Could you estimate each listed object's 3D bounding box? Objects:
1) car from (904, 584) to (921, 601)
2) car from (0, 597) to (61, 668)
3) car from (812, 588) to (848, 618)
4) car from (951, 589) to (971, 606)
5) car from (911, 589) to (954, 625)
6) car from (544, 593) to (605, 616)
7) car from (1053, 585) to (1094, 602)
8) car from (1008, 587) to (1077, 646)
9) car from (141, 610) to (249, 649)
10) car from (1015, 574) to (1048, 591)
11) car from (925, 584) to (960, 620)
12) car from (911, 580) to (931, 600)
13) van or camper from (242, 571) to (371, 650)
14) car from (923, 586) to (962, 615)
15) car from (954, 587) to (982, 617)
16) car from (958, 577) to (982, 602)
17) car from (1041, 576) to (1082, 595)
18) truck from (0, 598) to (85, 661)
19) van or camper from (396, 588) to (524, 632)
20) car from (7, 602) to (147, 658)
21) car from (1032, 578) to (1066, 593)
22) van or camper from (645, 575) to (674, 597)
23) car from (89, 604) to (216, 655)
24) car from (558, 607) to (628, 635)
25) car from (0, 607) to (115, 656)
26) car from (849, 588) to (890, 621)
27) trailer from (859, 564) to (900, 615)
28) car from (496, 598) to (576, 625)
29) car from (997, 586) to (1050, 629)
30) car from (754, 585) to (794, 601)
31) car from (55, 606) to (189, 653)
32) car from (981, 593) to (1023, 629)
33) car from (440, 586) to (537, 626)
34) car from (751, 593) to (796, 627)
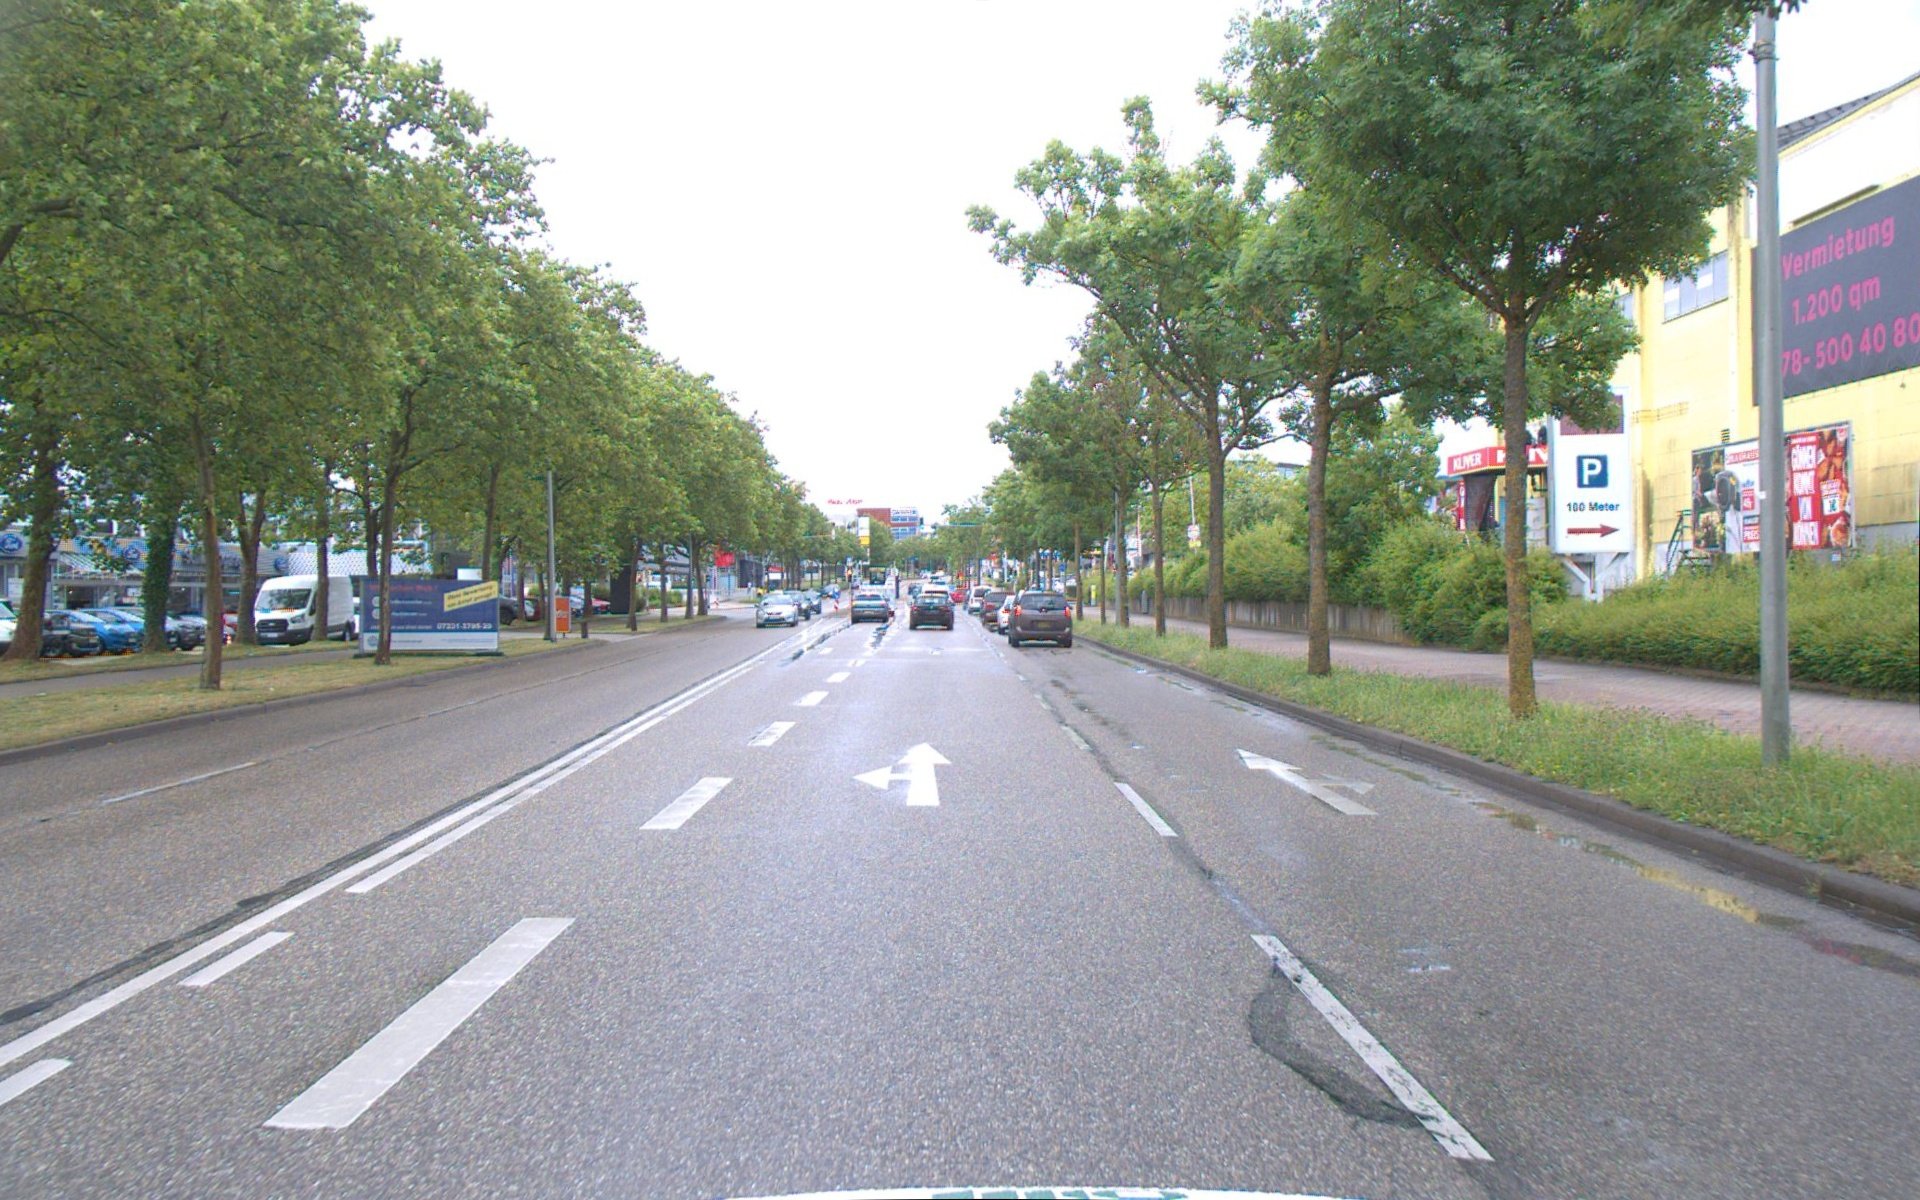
[{"bbox_3d":[-5.723,-0.915,200.858,1.953,2.049,3.999,1,0,-1],"label":"car"},{"bbox_3d":[-28.980,0.947,47.192,5.270,1.936,2.414,-1,0,-5],"label":"car"},{"bbox_3d":[-7.363,0.148,93.866,1.727,1.558,3.857,-3,0,-1],"label":"car"},{"bbox_3d":[0.097,-0.238,145.002,1.661,1.468,3.988,-1,0,-1],"label":"car"},{"bbox_3d":[-1.164,0.267,69.167,1.746,1.422,3.999,0,0,-2],"label":"car"},{"bbox_3d":[-26.742,0.319,114.758,3.903,1.515,1.877,-1,1,-6],"label":"car"},{"bbox_3d":[11.001,-0.644,160.321,1.896,1.604,4.266,-1,1,40],"label":"car"},{"bbox_3d":[2.390,0.446,48.909,1.691,1.652,4.470,-1,0,-1],"label":"car"},{"bbox_3d":[-31.536,1.211,68.212,3.811,1.493,1.601,-1,0,11],"label":"car"},{"bbox_3d":[8.932,-2.212,207.881,4.026,1.938,1.800,-1,1,0],"label":"car"},{"bbox_3d":[-1.064,0.103,97.162,1.953,2.049,3.999,1,0,-2],"label":"car"},{"bbox_3d":[-4.084,-1.045,173.848,1.953,2.049,3.999,1,0,-1],"label":"car"},{"bbox_3d":[-22.248,0.323,56.645,1.953,2.513,6.400,0,0,-1],"label":"van or camper"},{"bbox_3d":[-0.883,0.017,83.314,1.649,1.401,3.996,-1,1,-5],"label":"car"},{"bbox_3d":[0.534,0.108,108.481,1.745,1.899,4.000,-1,0,0],"label":"car"},{"bbox_3d":[0.742,-0.759,121.489,1.650,1.713,3.402,1,0,-1],"label":"car"},{"bbox_3d":[10.595,-1.523,172.679,3.992,1.691,1.953,-4,2,-41],"label":"car"},{"bbox_3d":[-29.240,0.903,50.568,3.916,1.870,1.995,-1,0,-11],"label":"truck"},{"bbox_3d":[-22.648,0.444,74.923,5.220,1.853,2.247,-1,0,-27],"label":"van or camper"},{"bbox_3d":[-29.809,1.003,55.860,3.902,1.797,1.867,-1,0,14],"label":"car"},{"bbox_3d":[9.583,-1.565,178.398,3.567,1.563,1.619,-2,1,-41],"label":"car"},{"bbox_3d":[-28.499,-1.316,156.768,1.953,2.001,4.786,1,0,-2],"label":"van or camper"},{"bbox_3d":[-29.788,1.069,61.044,3.902,1.797,1.866,-1,0,15],"label":"car"},{"bbox_3d":[-24.120,1.393,108.650,4.165,1.623,1.984,-3,1,-25],"label":"car"},{"bbox_3d":[-29.760,1.003,53.372,3.904,1.486,2.034,-1,0,2],"label":"car"},{"bbox_3d":[-4.618,0.196,84.817,1.868,1.606,4.879,-1,0,-1],"label":"car"},{"bbox_3d":[-4.849,-0.607,99.985,2.325,2.947,5.543,-1,0,-3],"label":"trailer"},{"bbox_3d":[-25.808,0.701,100.759,4.494,1.624,1.985,0,0,-24],"label":"car"},{"bbox_3d":[2.411,0.251,63.784,1.764,1.571,4.619,1,0,-1],"label":"car"},{"bbox_3d":[-20.114,-0.744,178.618,3.916,1.579,1.895,-1,1,33],"label":"car"},{"bbox_3d":[-29.614,1.036,58.475,3.902,1.547,1.867,-1,0,13],"label":"car"},{"bbox_3d":[1.961,0.493,78.005,1.764,1.614,4.450,1,1,-1],"label":"car"},{"bbox_3d":[-23.380,0.292,82.054,4.396,1.847,1.985,-1,0,-24],"label":"car"},{"bbox_3d":[-8.713,0.441,77.547,1.955,1.454,4.680,-2,0,-5],"label":"car"}]
